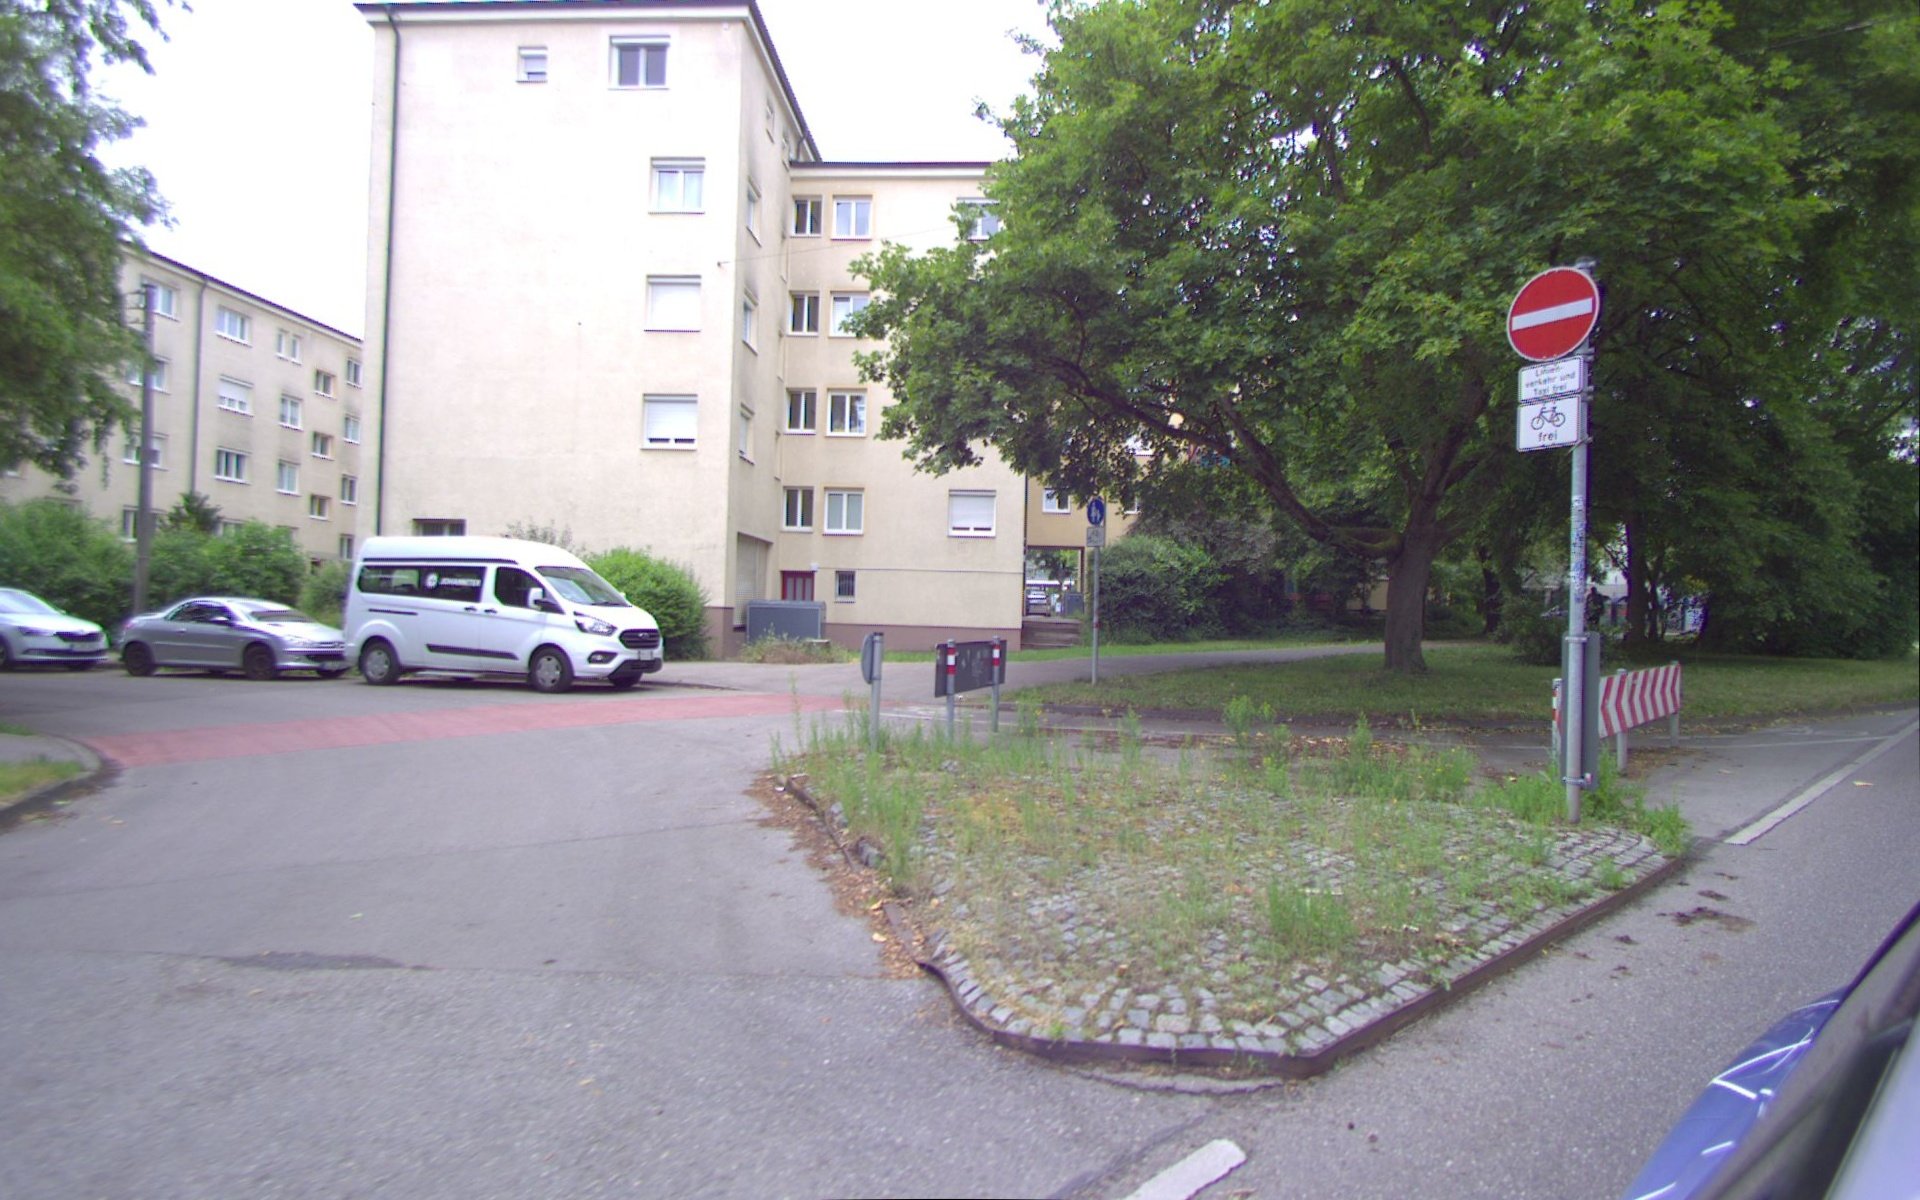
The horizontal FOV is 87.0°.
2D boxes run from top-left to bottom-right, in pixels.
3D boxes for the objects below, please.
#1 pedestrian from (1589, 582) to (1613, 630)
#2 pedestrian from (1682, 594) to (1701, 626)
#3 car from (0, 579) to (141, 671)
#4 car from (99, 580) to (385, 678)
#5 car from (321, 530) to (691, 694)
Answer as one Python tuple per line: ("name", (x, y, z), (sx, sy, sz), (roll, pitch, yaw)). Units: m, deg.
("pedestrian", (22.845, 0.210, 36.074), (0.647, 1.682, 0.641), (1, 0, 39))
("pedestrian", (32.881, 0.448, 45.474), (0.647, 1.435, 0.641), (1, 0, 39))
("car", (-17.460, 0.401, 18.004), (4.522, 1.529, 1.797), (1, 0, 5))
("car", (-12.270, 0.464, 17.392), (3.937, 1.529, 1.794), (1, 0, 11))
("car", (-7.247, 0.141, 16.284), (5.254, 2.328, 2.280), (1, 0, 18))
